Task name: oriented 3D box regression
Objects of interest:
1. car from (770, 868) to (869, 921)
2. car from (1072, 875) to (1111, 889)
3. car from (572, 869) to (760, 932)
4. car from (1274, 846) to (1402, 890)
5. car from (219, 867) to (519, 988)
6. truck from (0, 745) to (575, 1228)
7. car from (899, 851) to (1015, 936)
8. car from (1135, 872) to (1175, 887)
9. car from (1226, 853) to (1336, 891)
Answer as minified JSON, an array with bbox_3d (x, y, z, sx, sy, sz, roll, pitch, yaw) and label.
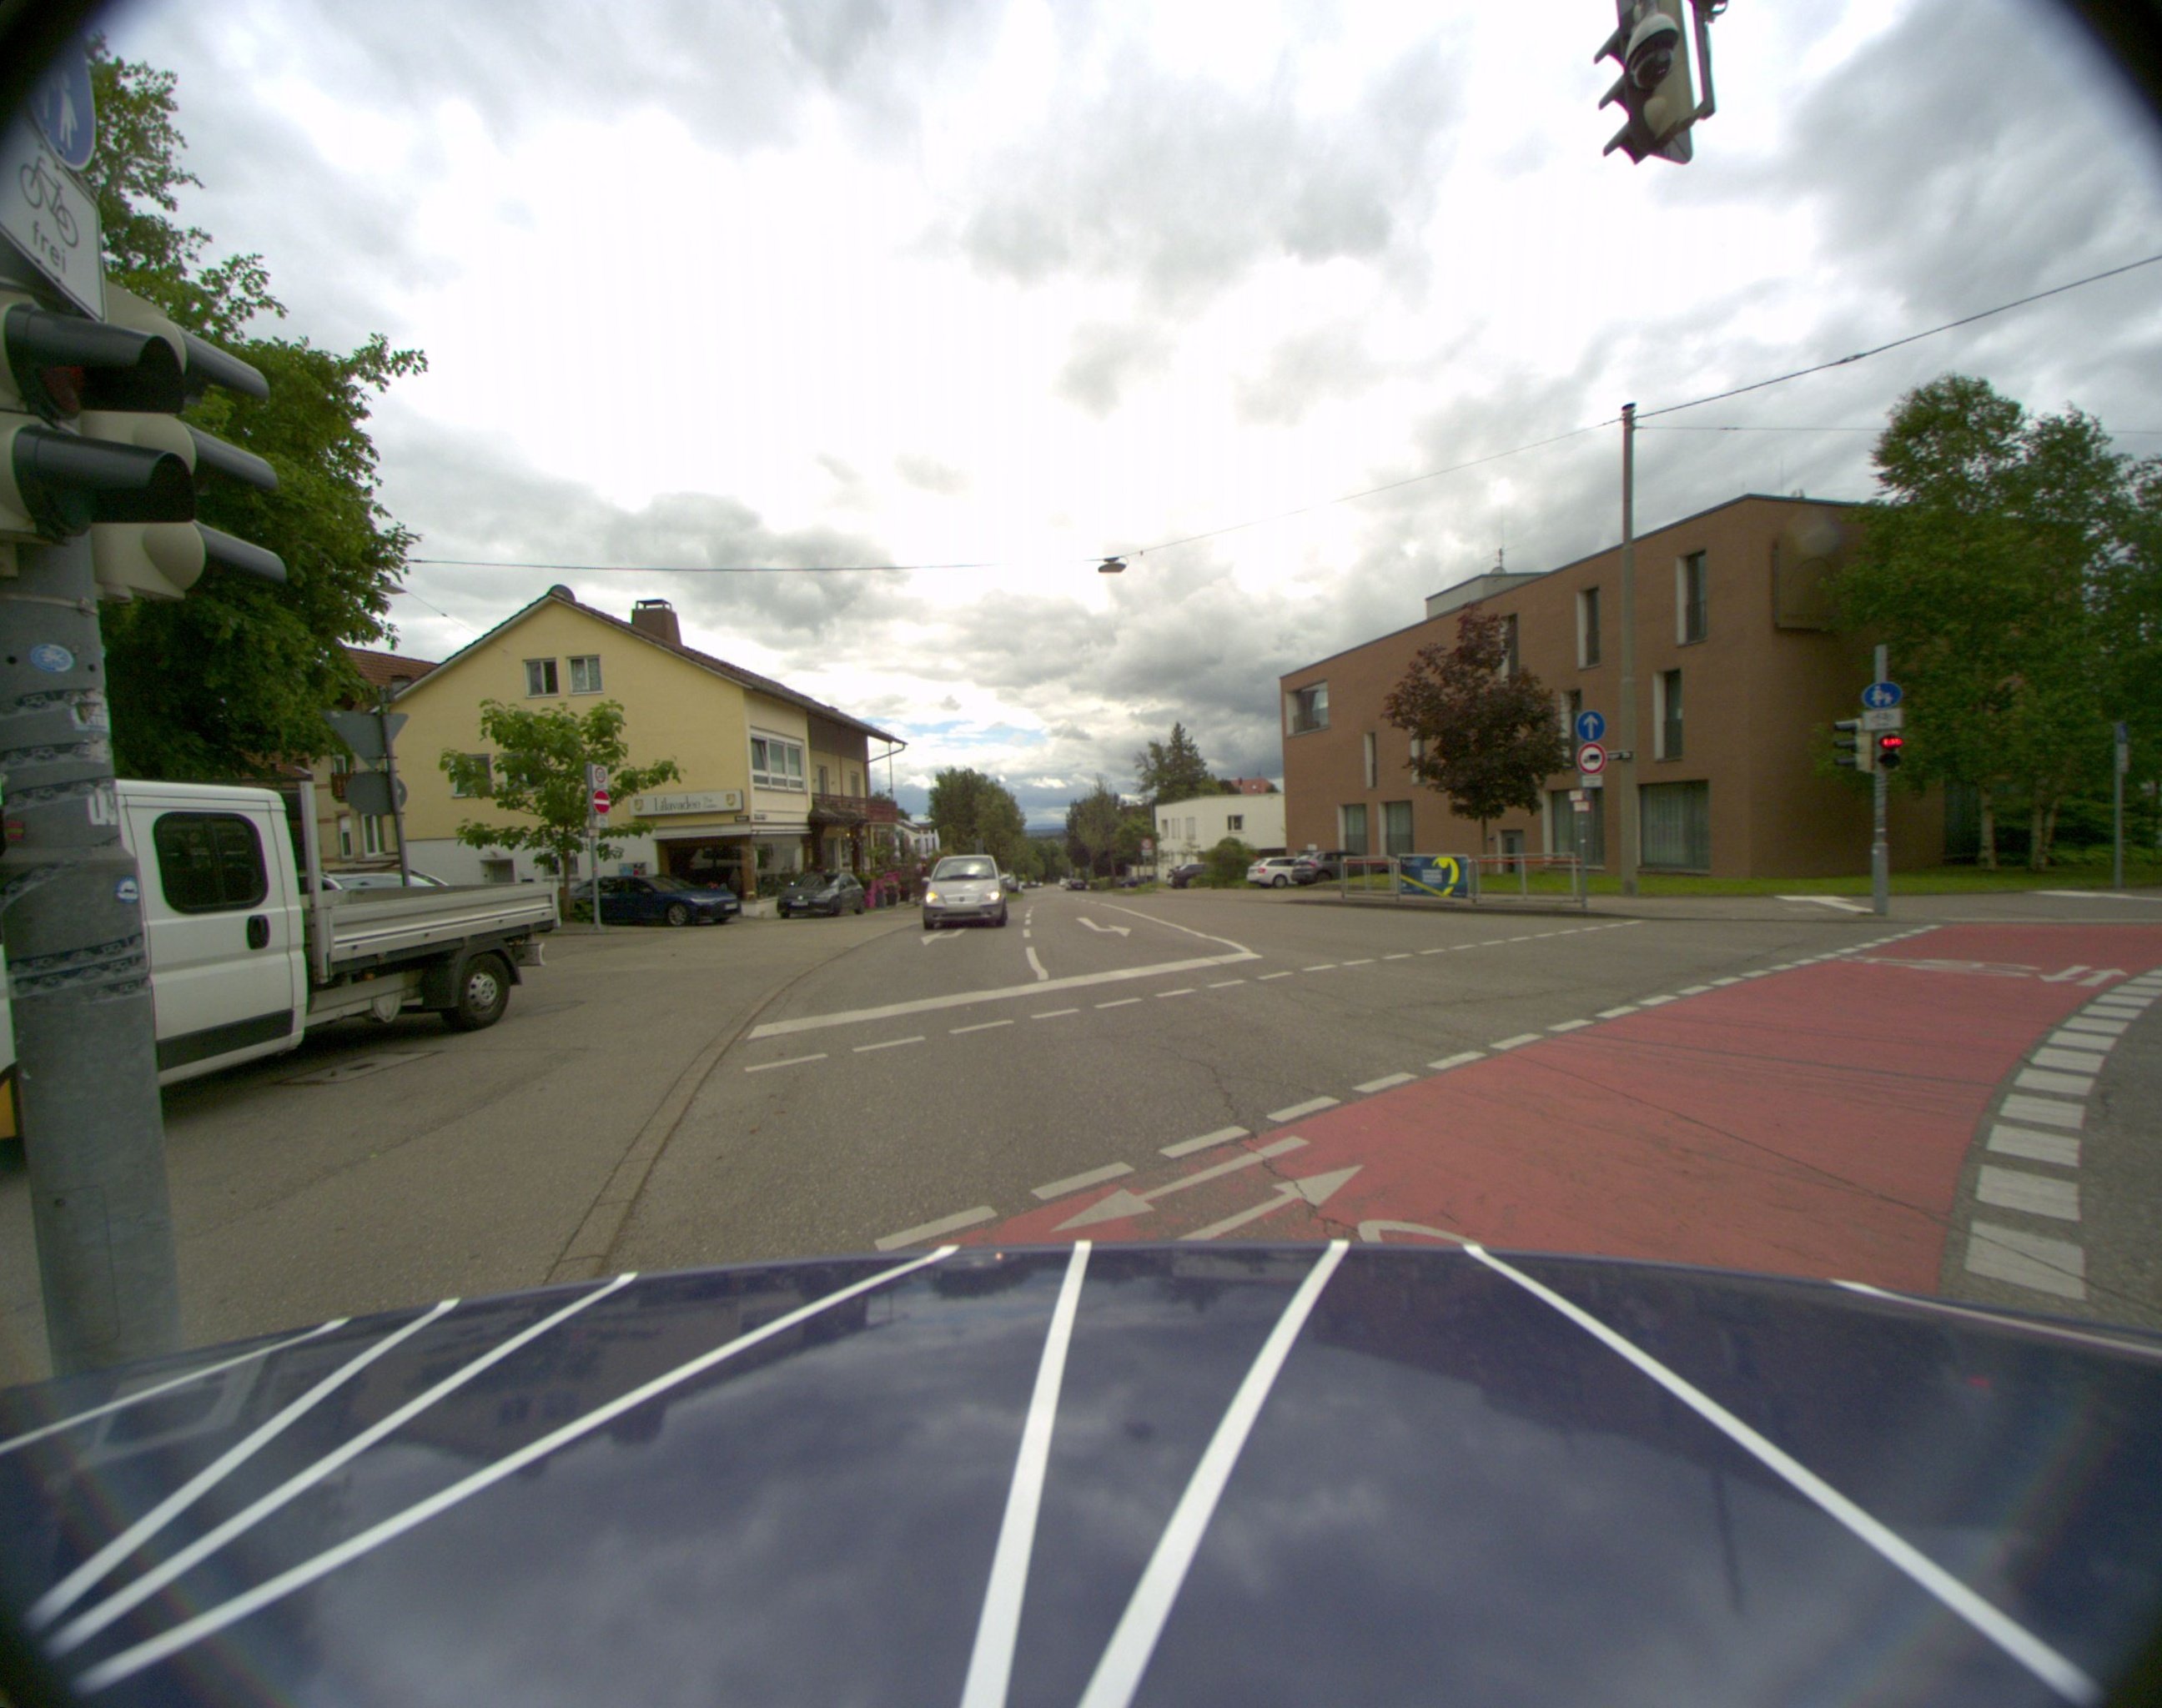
[{"bbox_3d":[-8.359,1.288,24.656,1.874,1.483,3.884,-3,-2,-1],"label":"car"},{"bbox_3d":[1.313,3.374,92.592,4.436,1.549,1.999,-2,0,-8],"label":"car"},{"bbox_3d":[-11.379,1.259,20.985,4.222,1.519,1.934,-2,-1,9],"label":"car"},{"bbox_3d":[10.371,0.557,30.789,4.436,1.549,1.999,-2,0,-8],"label":"car"},{"bbox_3d":[-11.597,1.137,12.419,4.058,1.631,1.871,-2,2,20],"label":"car"},{"bbox_3d":[-6.595,0.608,5.164,2.403,2.339,6.183,-2,3,-4],"label":"truck"},{"bbox_3d":[-2.653,0.842,17.199,1.999,1.586,4.000,-3,-1,-2],"label":"car"},{"bbox_3d":[8.991,3.094,92.326,4.436,1.549,1.999,-2,0,-8],"label":"car"},{"bbox_3d":[9.170,0.800,34.963,4.436,1.549,1.999,-2,0,-8],"label":"car"}]
